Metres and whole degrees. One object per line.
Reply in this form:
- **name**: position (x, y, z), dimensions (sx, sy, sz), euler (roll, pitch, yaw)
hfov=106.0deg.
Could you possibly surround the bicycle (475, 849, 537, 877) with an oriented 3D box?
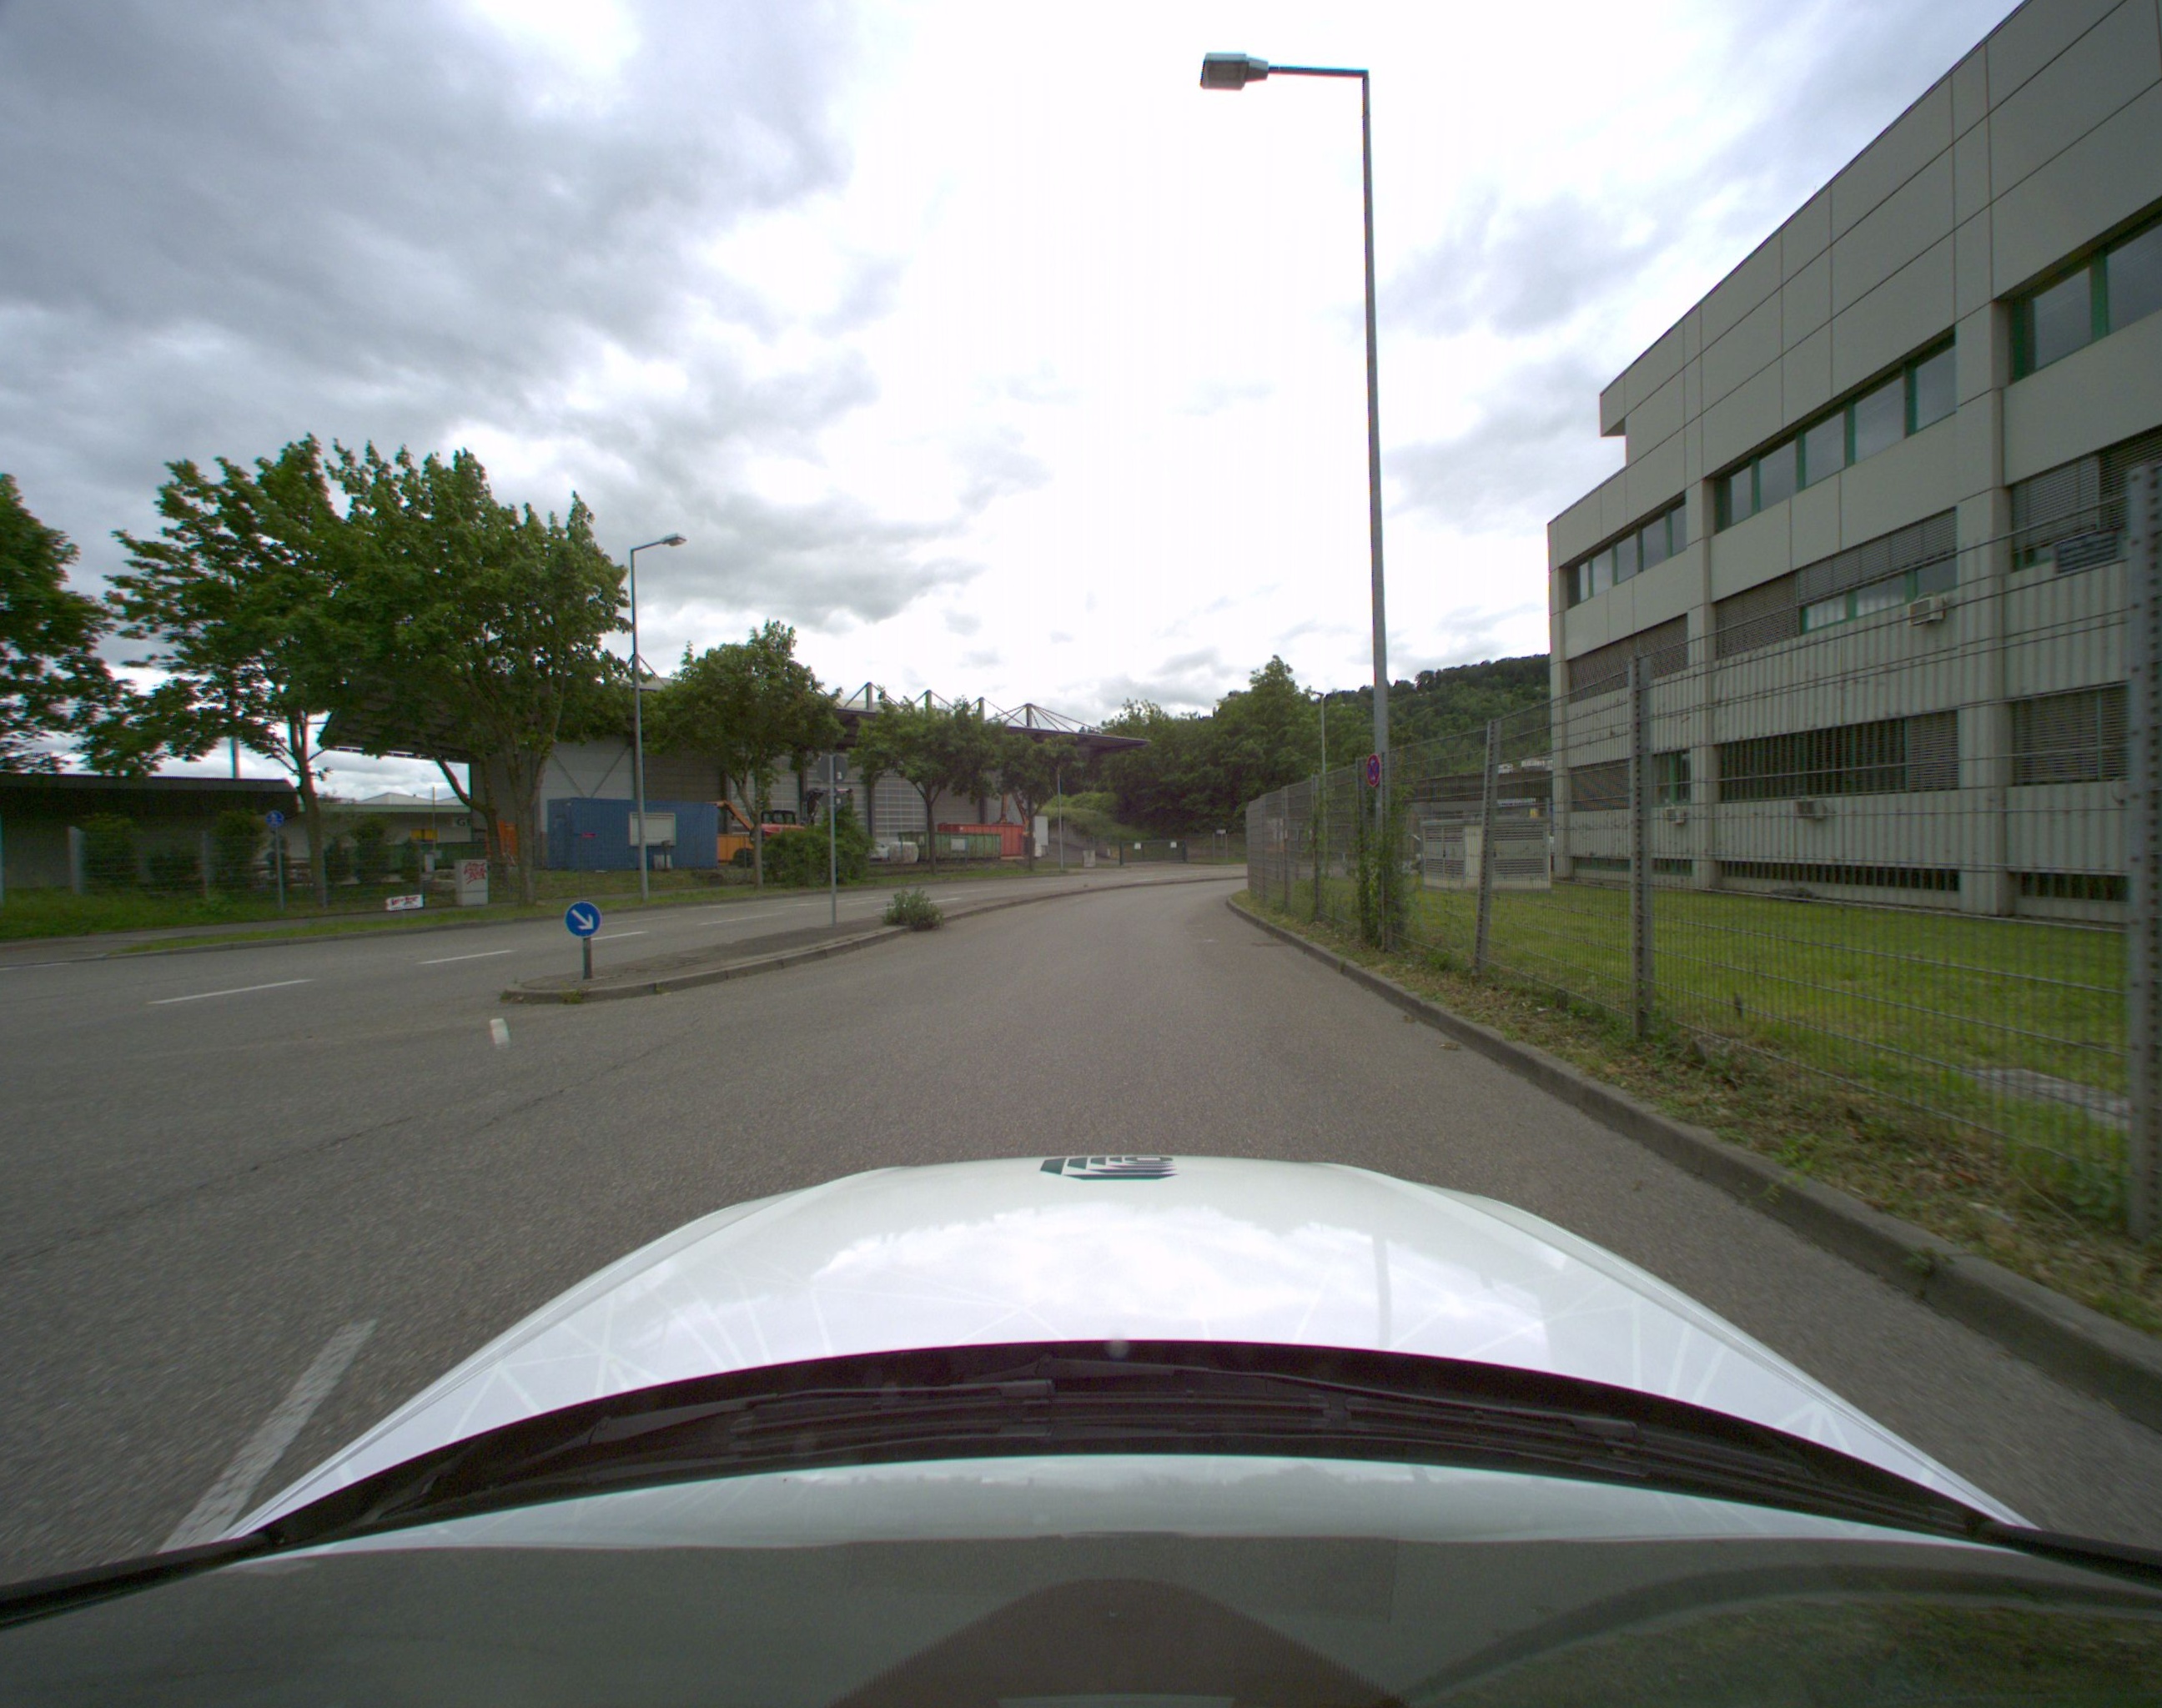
- **bicycle**: position (-21.664, 0.316, 30.701), dimensions (0.654, 0.974, 1.773), euler (-2, 1, 36)

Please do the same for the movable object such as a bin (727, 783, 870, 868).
- **movable object such as a bin**: position (-14.701, -1.473, 42.866), dimensions (2.698, 4.090, 6.595), euler (-2, 1, 37)

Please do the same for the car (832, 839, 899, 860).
- **car**: position (-14.434, -0.322, 54.749), dimensions (1.716, 1.374, 4.024), euler (-1, 1, 44)

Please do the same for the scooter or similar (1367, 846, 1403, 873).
- **scooter or similar**: position (13.447, 0.238, 36.008), dimensions (0.483, 1.133, 1.403), euler (-1, -1, -38)
